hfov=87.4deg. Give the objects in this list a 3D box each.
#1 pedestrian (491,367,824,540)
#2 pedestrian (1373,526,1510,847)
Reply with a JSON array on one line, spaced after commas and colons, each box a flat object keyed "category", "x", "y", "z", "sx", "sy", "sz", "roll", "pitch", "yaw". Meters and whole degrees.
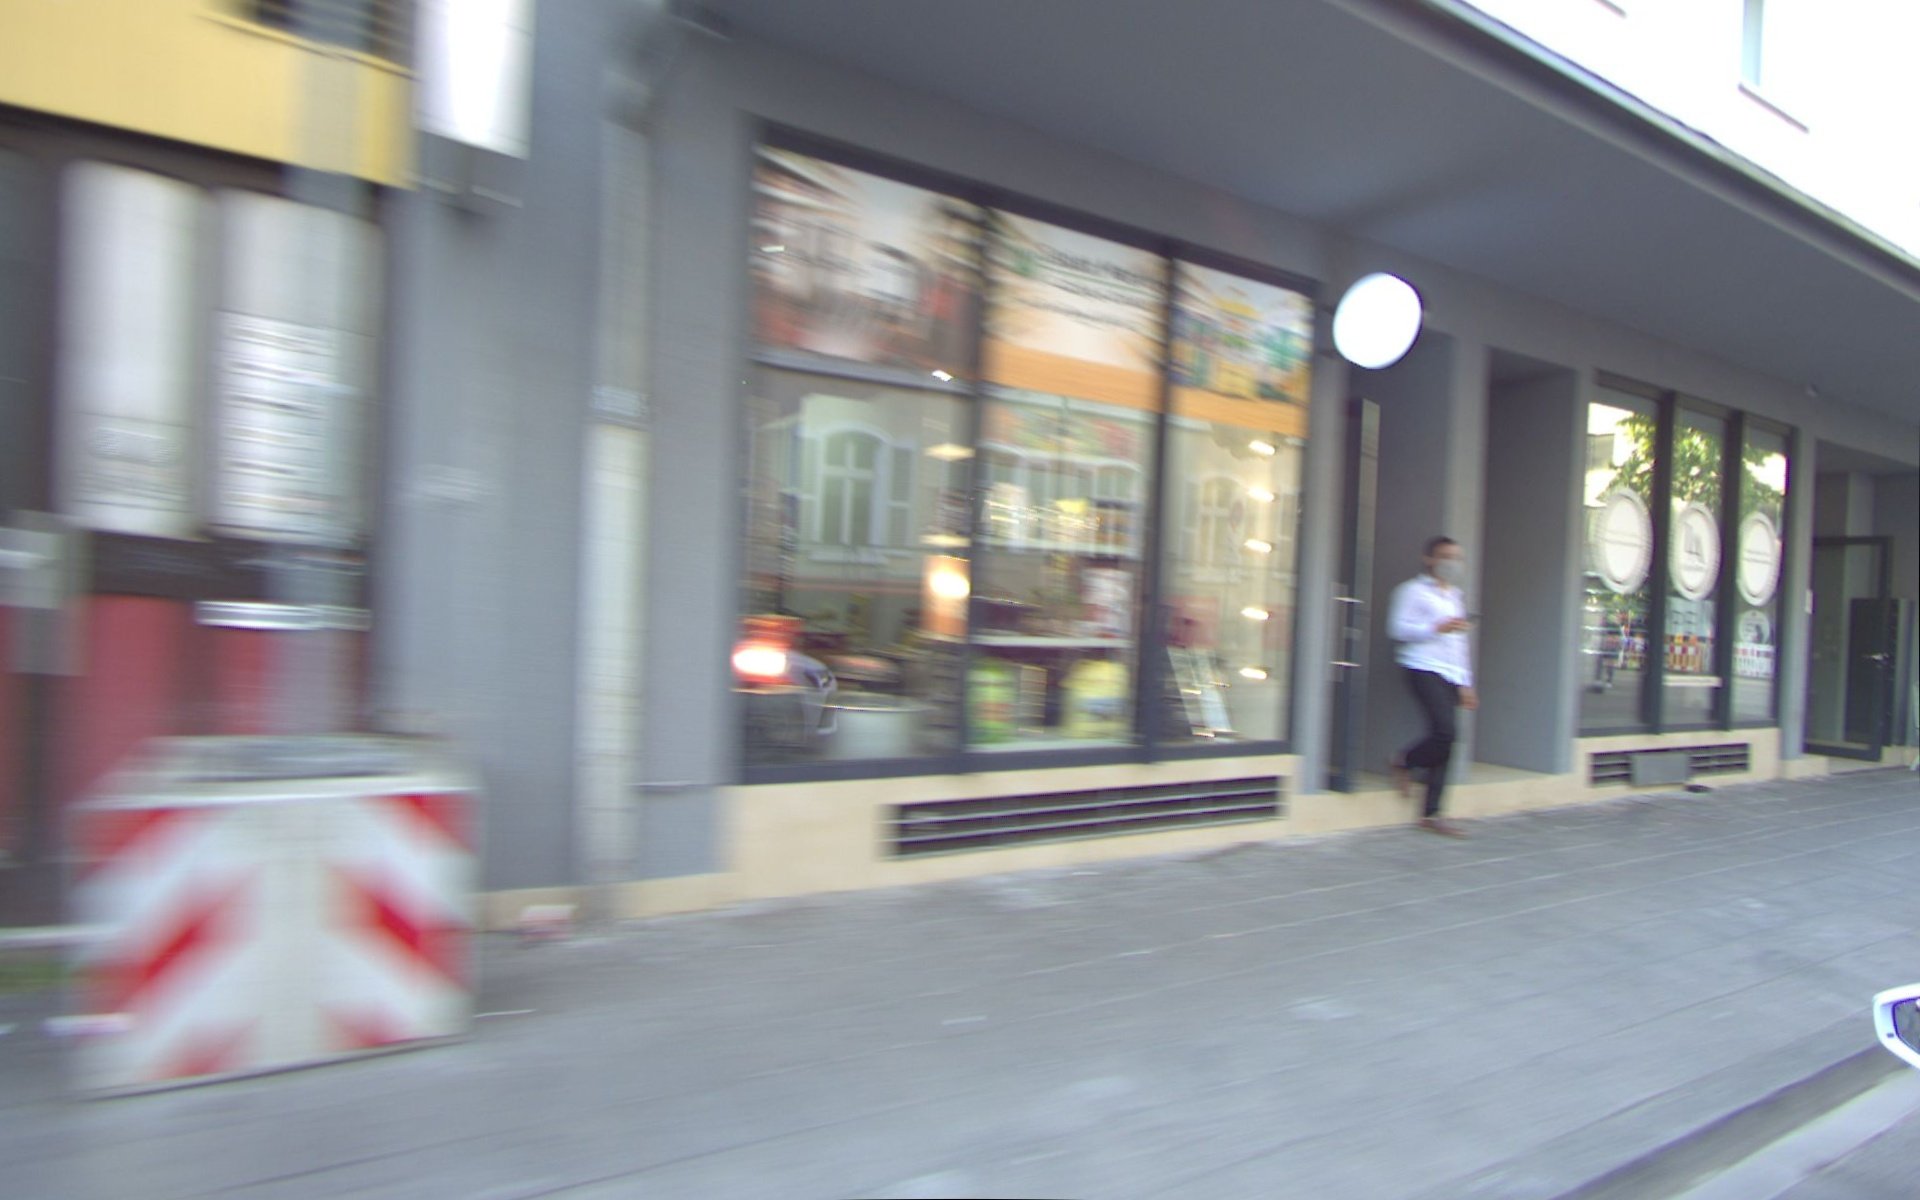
[{"category": "pedestrian", "x": -4.115, "y": -1.976, "z": 14.061, "sx": 3.919, "sy": 2.040, "sz": 2.001, "roll": 1, "pitch": -1, "yaw": 8}, {"category": "pedestrian", "x": 2.970, "y": 0.508, "z": 6.199, "sx": 0.557, "sy": 1.859, "sz": 0.526, "roll": 2, "pitch": 0, "yaw": -36}]
